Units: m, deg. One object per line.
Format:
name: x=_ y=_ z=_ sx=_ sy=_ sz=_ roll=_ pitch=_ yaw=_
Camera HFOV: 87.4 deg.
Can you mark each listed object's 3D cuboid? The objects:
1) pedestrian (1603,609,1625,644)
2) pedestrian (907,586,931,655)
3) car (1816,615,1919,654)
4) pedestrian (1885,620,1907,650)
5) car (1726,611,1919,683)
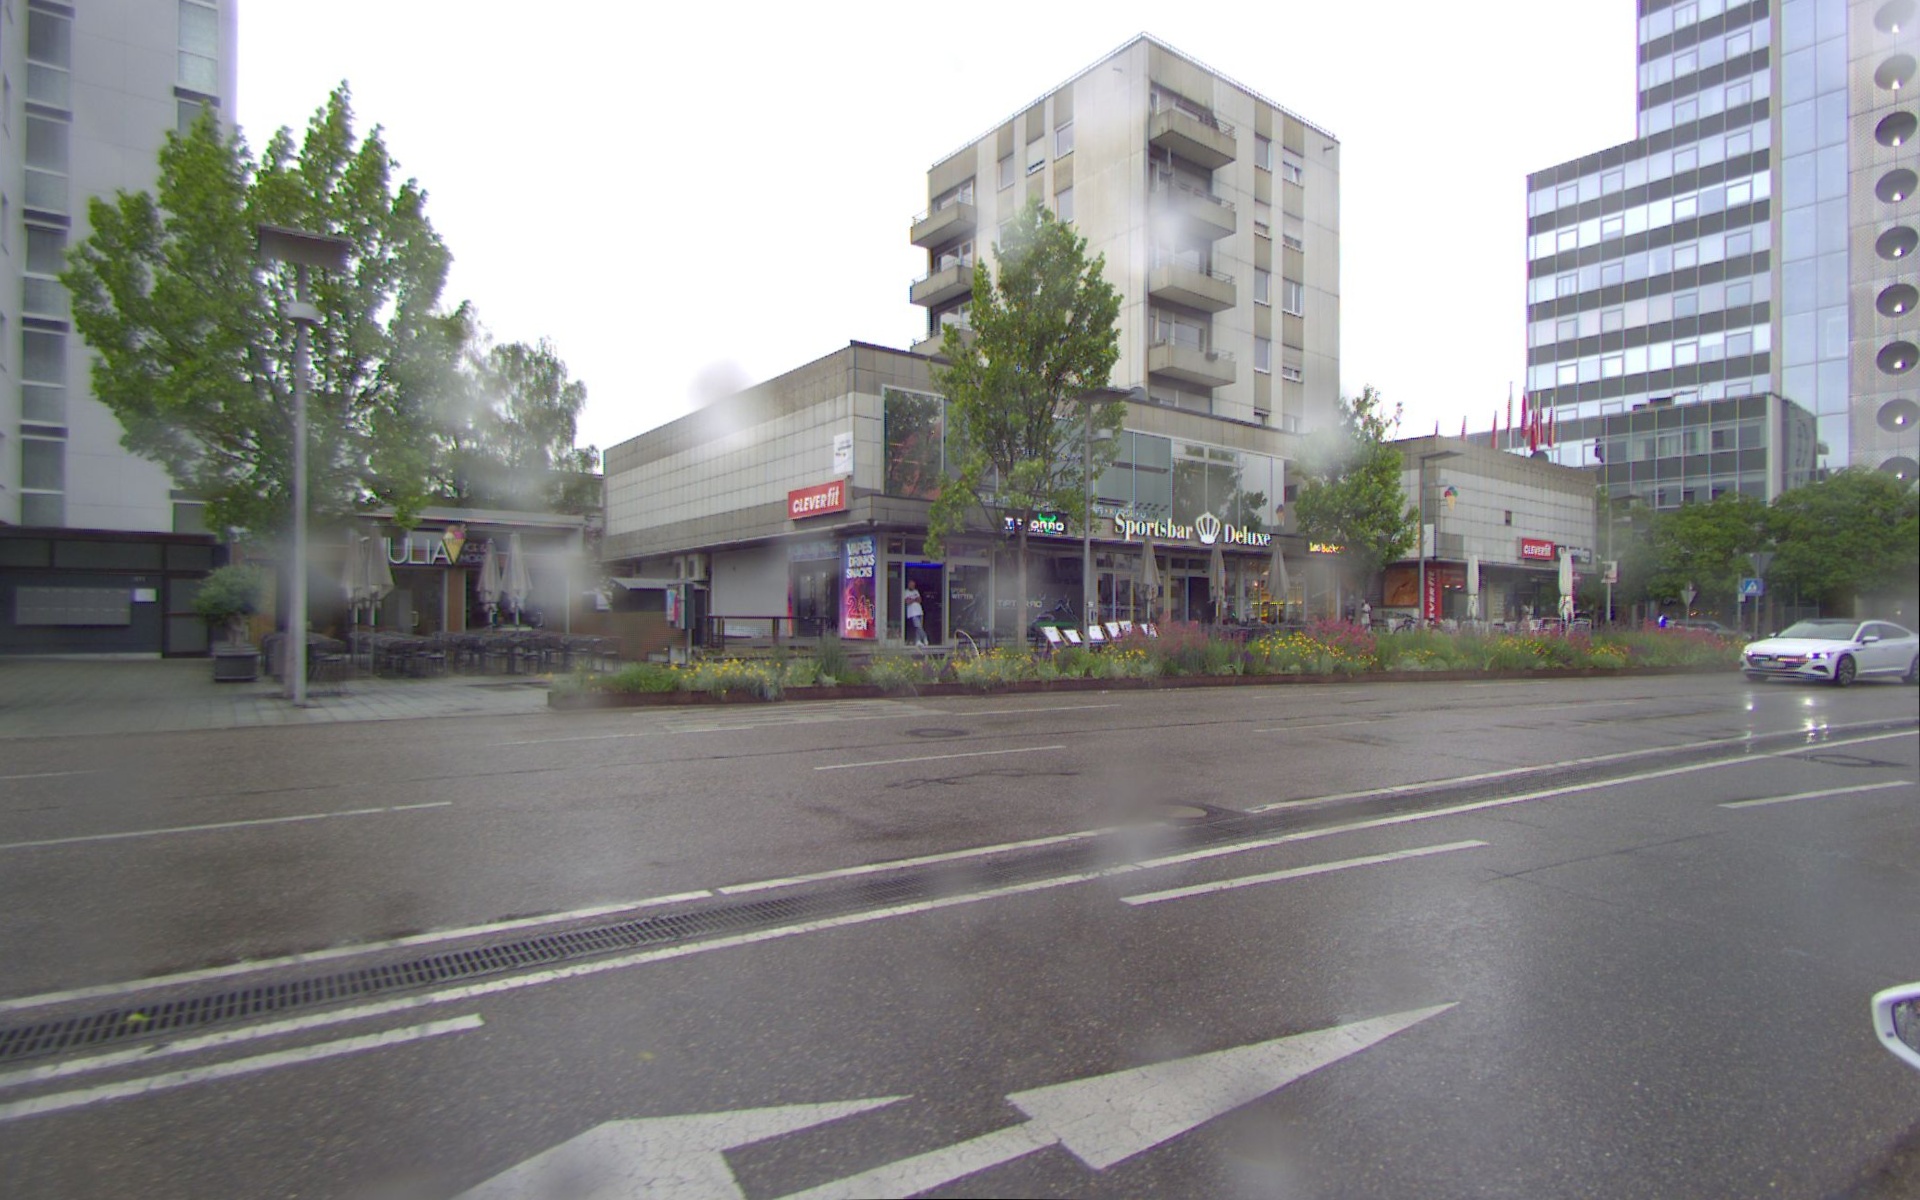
pedestrian: x=25.865 y=1.050 z=39.719 sx=0.526 sy=1.365 sz=0.497 roll=0 pitch=0 yaw=-2
pedestrian: x=-1.111 y=0.556 z=27.248 sx=0.495 sy=1.873 sz=0.424 roll=1 pitch=0 yaw=-27
car: x=41.584 y=1.535 z=45.307 sx=1.849 sy=1.616 sz=4.171 roll=1 pitch=0 yaw=-31
pedestrian: x=58.444 y=2.176 z=62.734 sx=0.739 sy=1.892 sz=0.833 roll=0 pitch=-1 yaw=25
car: x=19.820 y=1.020 z=22.732 sx=4.739 sy=1.480 sz=1.838 roll=1 pitch=0 yaw=-23
